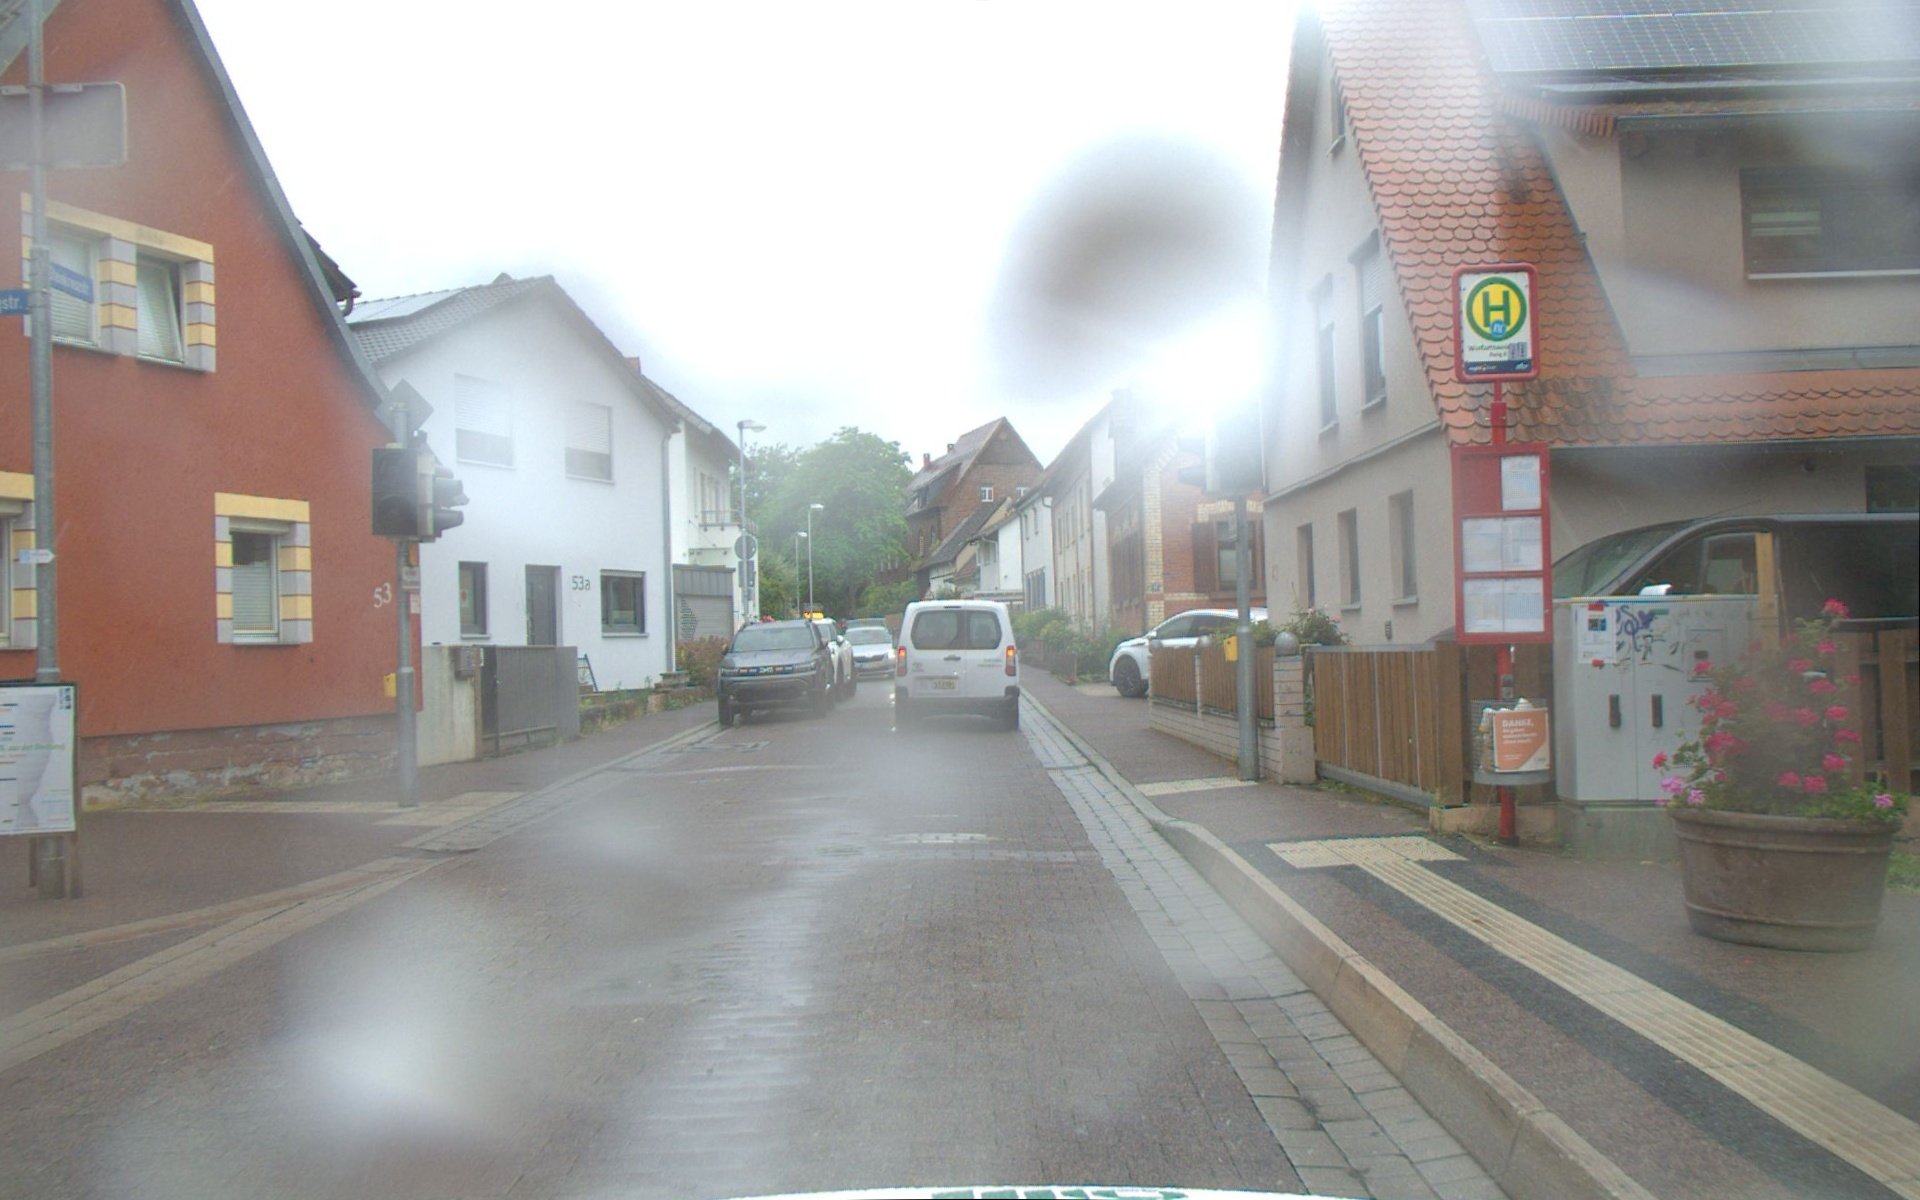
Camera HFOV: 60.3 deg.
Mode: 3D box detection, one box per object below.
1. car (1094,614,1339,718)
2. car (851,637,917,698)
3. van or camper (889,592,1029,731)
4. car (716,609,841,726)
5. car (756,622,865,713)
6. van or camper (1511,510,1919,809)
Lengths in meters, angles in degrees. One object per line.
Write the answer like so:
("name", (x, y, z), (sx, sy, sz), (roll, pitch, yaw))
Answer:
("car", (4.507, 1.113, 29.763), (1.853, 1.618, 4.568), (0, 1, -32))
("car", (-2.207, 1.930, 47.344), (1.656, 1.592, 3.929), (-2, -2, -5))
("van or camper", (-0.019, 0.850, 24.545), (1.904, 1.883, 3.999), (0, 0, 0))
("car", (-3.058, 1.099, 28.596), (1.776, 1.810, 4.016), (-2, 0, -2))
("car", (-3.070, 1.392, 34.740), (1.713, 1.665, 4.418), (-4, -2, 1))
("van or camper", (6.766, 0.413, 11.928), (4.968, 1.957, 1.874), (0, -1, -4))
